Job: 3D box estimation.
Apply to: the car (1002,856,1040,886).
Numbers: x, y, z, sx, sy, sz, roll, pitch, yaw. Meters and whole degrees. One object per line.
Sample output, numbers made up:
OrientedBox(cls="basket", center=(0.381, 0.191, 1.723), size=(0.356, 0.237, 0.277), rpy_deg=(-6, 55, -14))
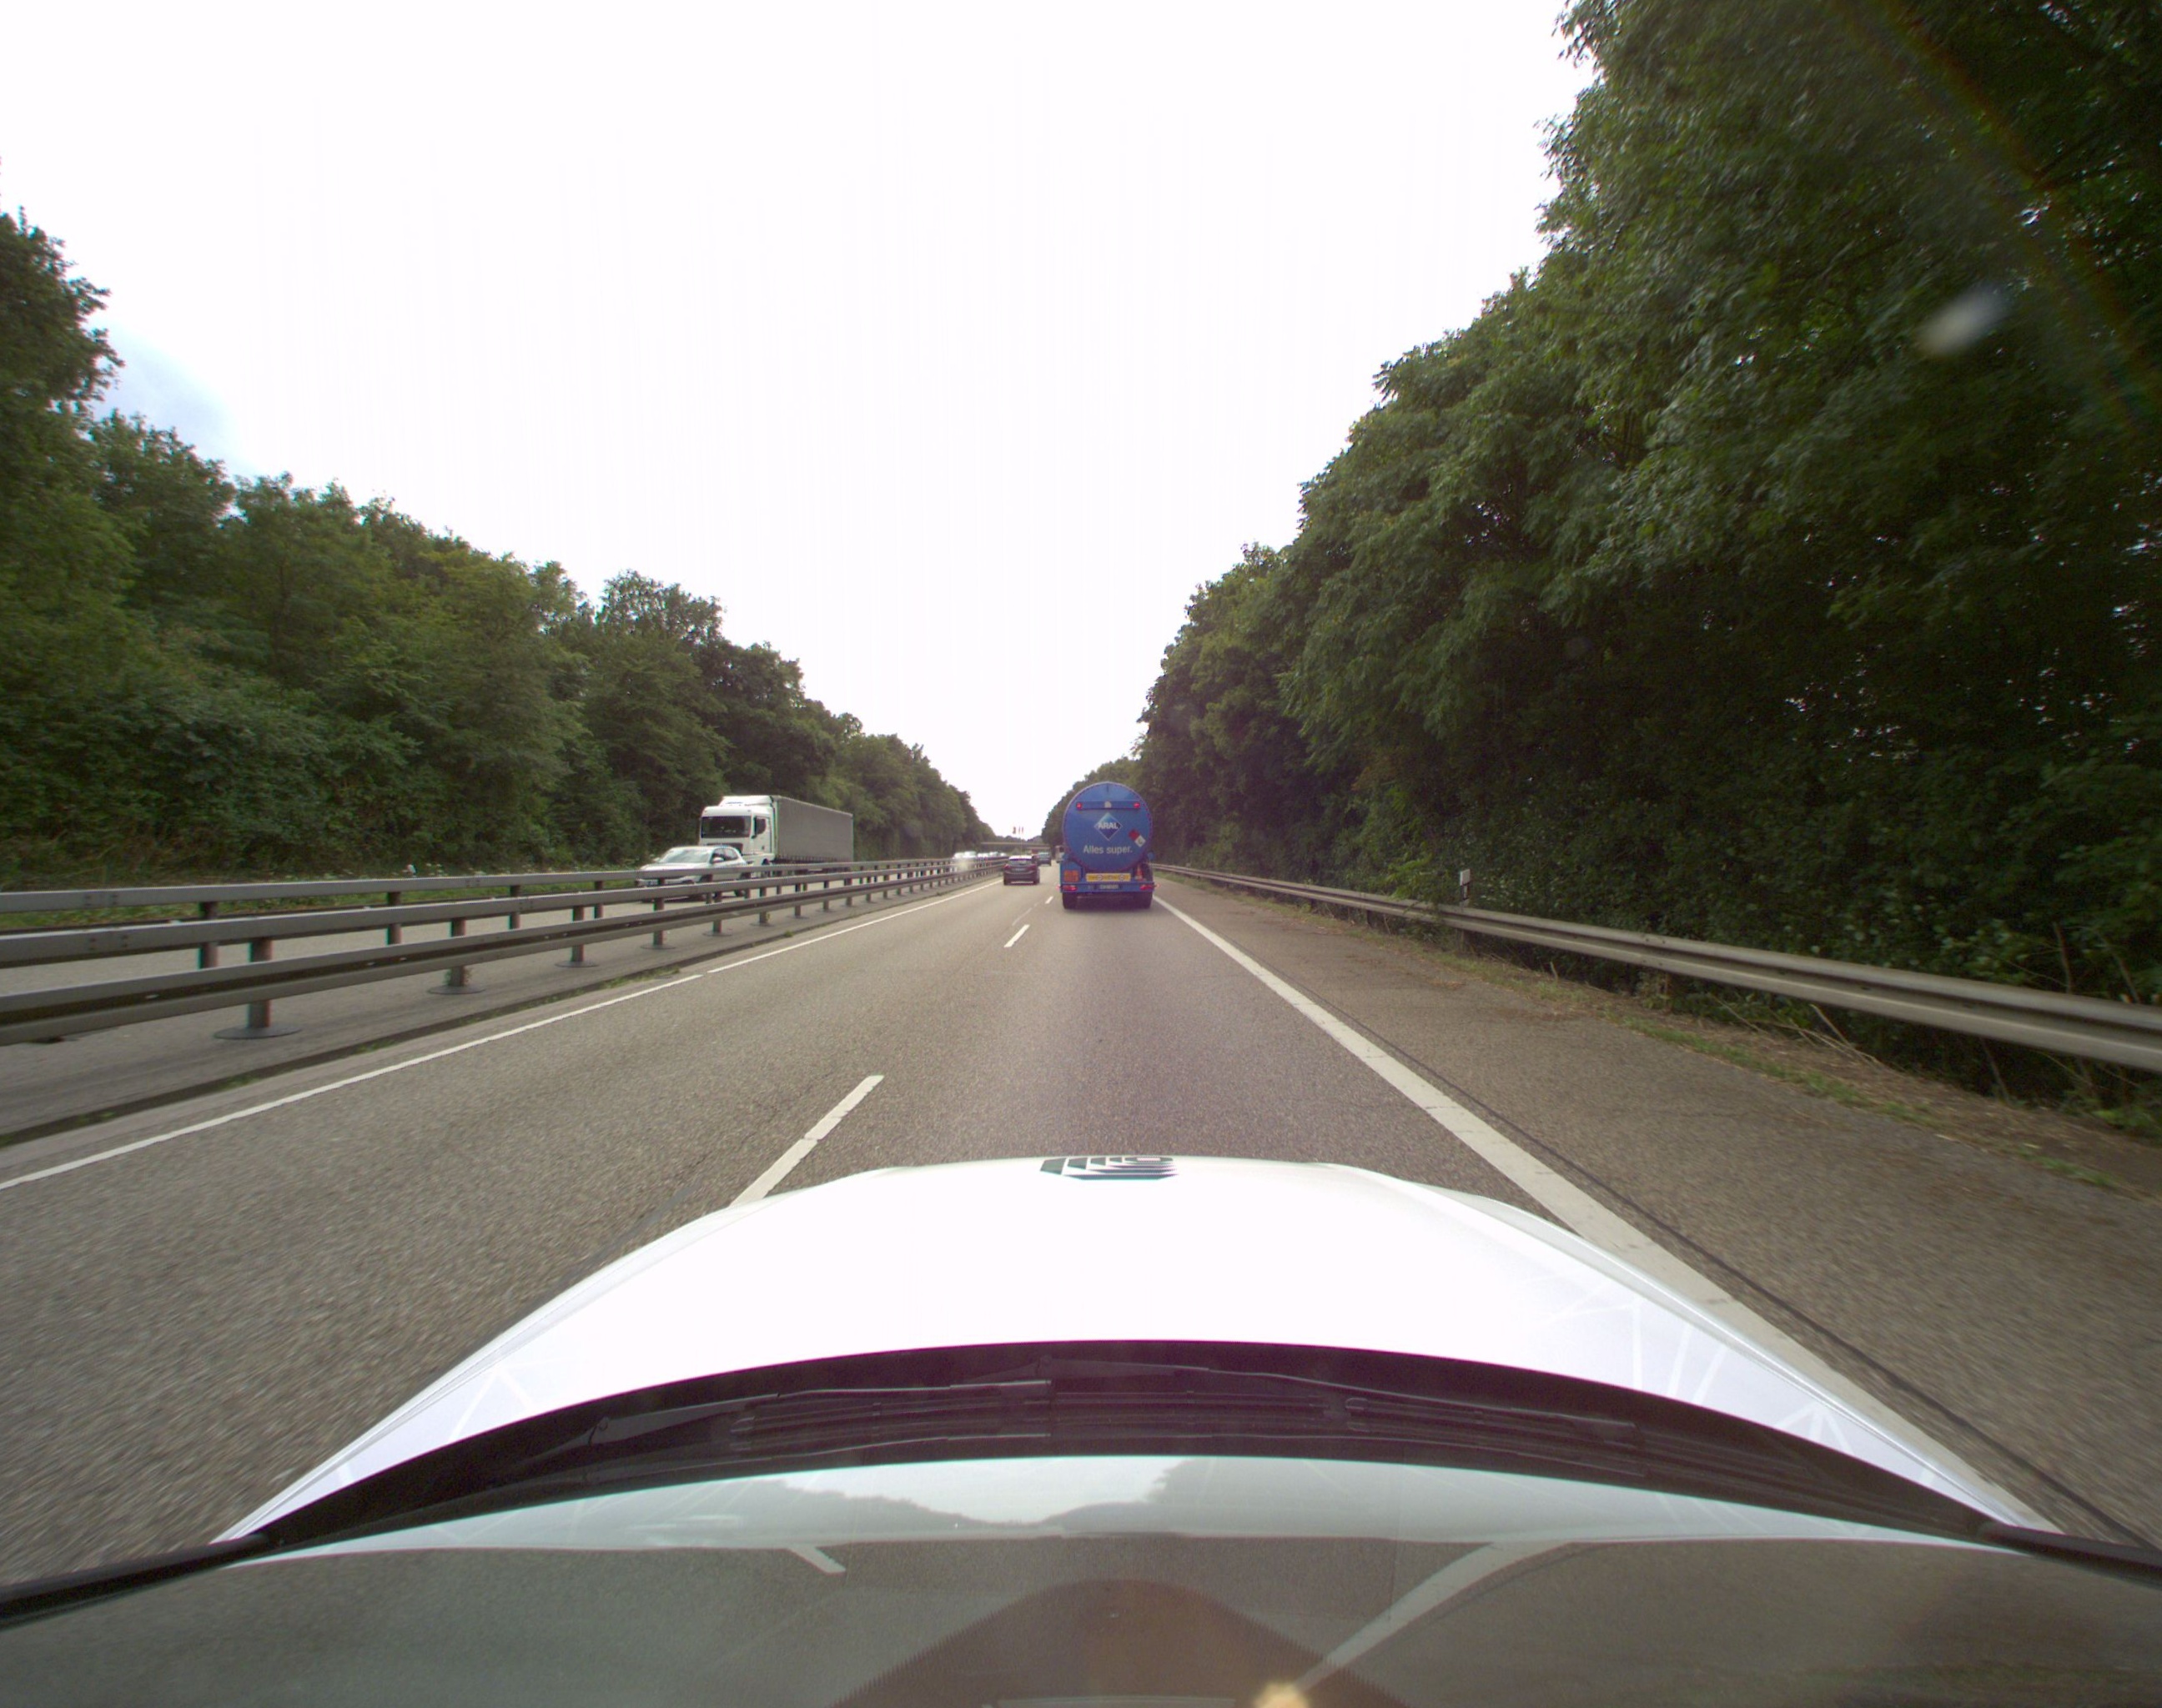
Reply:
OrientedBox(cls="car", center=(-3.058, 0.828, 42.271), size=(1.822, 1.458, 4.635), rpy_deg=(-1, 0, -3))

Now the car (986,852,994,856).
OrientedBox(cls="car", center=(-24.916, 0.062, 223.023), size=(1.737, 1.189, 4.288), rpy_deg=(-1, 0, -2))

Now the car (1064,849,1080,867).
OrientedBox(cls="car", center=(-1.090, 0.468, 101.487), size=(1.987, 2.221, 3.999), rpy_deg=(-1, 0, 0))

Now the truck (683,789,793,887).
OrientedBox(cls="truck", center=(-15.435, -0.669, 37.056), size=(2.684, 4.063, 5.321), rpy_deg=(-1, 0, 0))

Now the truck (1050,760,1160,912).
OrientedBox(cls="truck", center=(0.758, -0.482, 24.764), size=(2.745, 3.846, 7.692), rpy_deg=(-1, 0, 2))

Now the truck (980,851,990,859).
OrientedBox(cls="truck", center=(-21.245, 0.166, 180.748), size=(1.989, 1.739, 3.995), rpy_deg=(-1, 0, -3))

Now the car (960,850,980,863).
OrientedBox(cls="car", center=(-12.581, 0.259, 92.572), size=(1.638, 1.389, 4.290), rpy_deg=(-1, 0, 0))

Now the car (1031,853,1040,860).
OrientedBox(cls="car", center=(-10.766, 0.617, 193.395), size=(1.952, 1.567, 3.992), rpy_deg=(-1, 0, -5))

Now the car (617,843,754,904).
OrientedBox(cls="car", center=(-11.120, 0.511, 23.262), size=(1.785, 1.549, 4.130), rpy_deg=(-1, 0, 1))

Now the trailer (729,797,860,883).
OrientedBox(cls="trailer", center=(-15.458, -0.666, 45.383), size=(2.655, 4.046, 12.870), rpy_deg=(-1, 0, 0))

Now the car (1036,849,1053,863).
OrientedBox(cls="car", center=(-4.519, 0.246, 101.520), size=(1.824, 1.609, 4.158), rpy_deg=(-1, 0, -7))

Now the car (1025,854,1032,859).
OrientedBox(cls="car", center=(-16.471, 0.655, 257.691), size=(1.988, 1.552, 3.998), rpy_deg=(-1, 0, -1))

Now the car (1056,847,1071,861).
OrientedBox(cls="car", center=(-2.790, -0.012, 127.782), size=(1.985, 2.244, 4.003), rpy_deg=(-1, 0, 3))

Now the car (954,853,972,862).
OrientedBox(cls="car", center=(-16.568, 0.465, 114.542), size=(1.736, 1.189, 4.290), rpy_deg=(-1, 0, 0))
